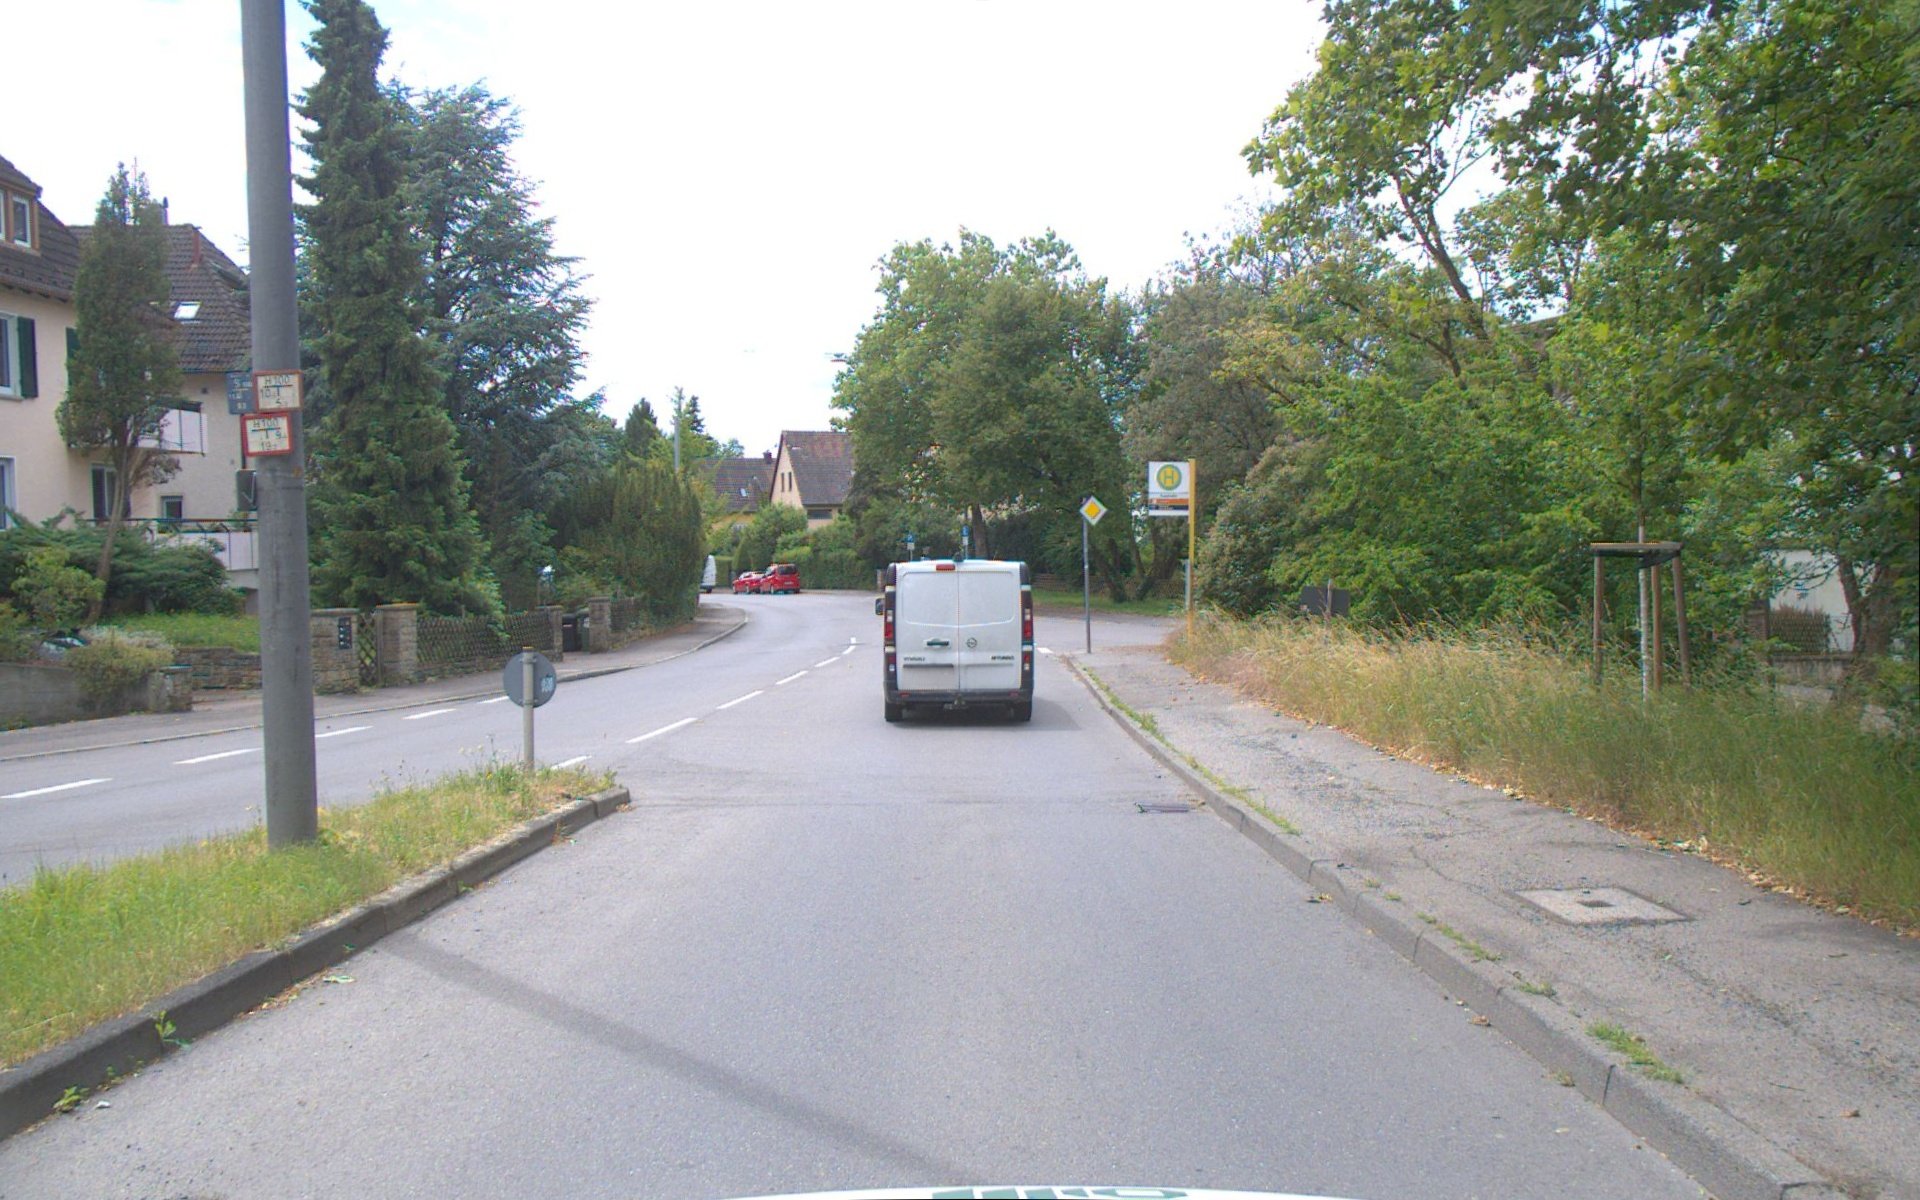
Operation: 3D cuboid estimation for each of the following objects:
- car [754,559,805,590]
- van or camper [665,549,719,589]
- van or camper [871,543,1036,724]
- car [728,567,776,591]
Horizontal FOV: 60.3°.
[{"bbox_3d":[-11.005,-1.572,100.552,1.737,1.828,4.913,-1,1,-23],"label":"car"},{"bbox_3d":[-19.156,-2.206,118.010,2.042,2.721,6.274,-2,2,-27],"label":"van or camper"},{"bbox_3d":[0.032,0.306,21.649,1.884,2.048,4.832,0,3,3],"label":"van or camper"},{"bbox_3d":[-13.272,-1.338,105.568,1.692,1.493,4.230,-1,1,-27],"label":"car"}]
